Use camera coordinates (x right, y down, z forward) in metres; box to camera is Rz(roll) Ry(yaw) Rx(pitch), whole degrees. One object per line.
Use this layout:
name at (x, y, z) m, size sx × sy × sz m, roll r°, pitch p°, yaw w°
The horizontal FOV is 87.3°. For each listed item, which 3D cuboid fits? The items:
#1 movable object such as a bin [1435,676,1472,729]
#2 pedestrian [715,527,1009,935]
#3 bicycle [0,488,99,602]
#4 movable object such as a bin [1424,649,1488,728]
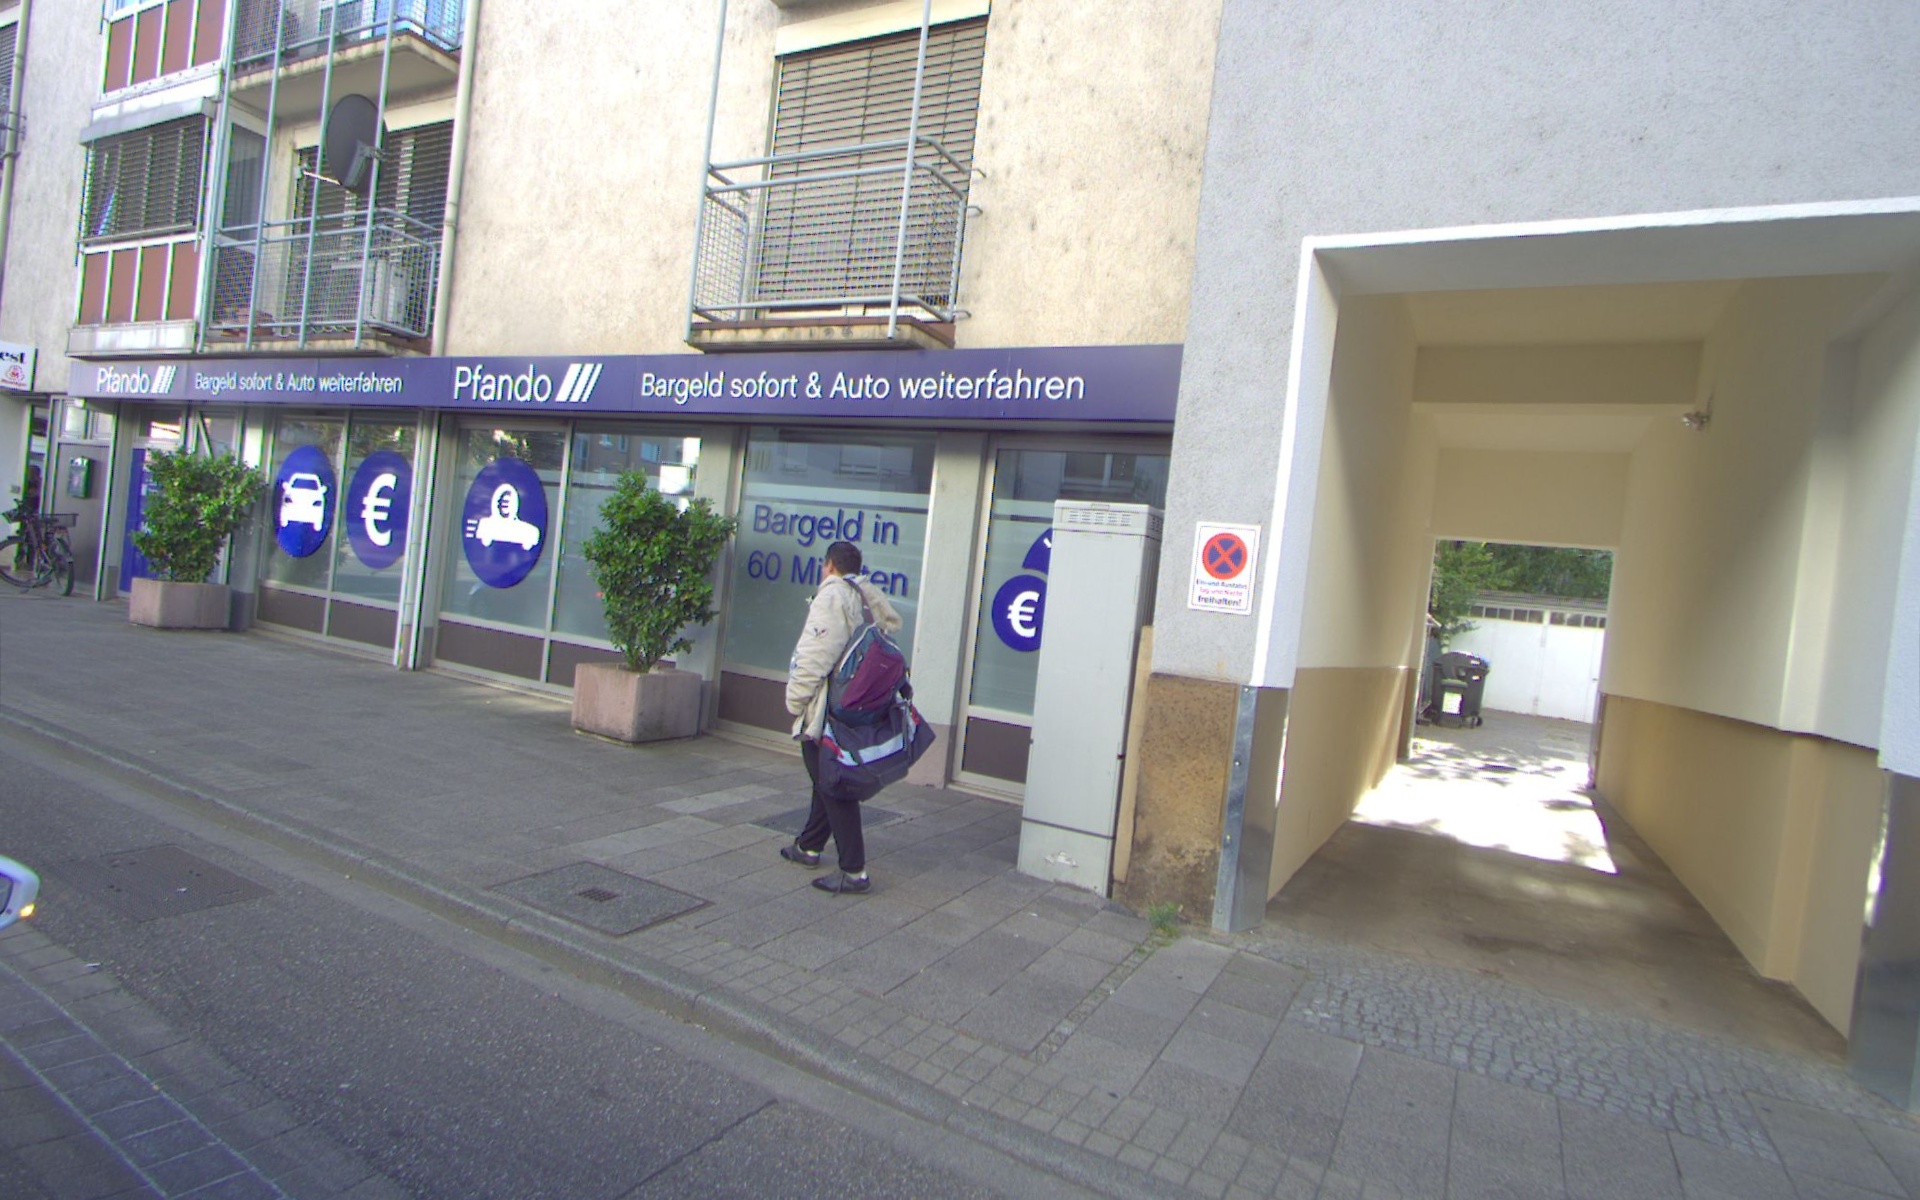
movable object such as a bin at (9.551, 1.973, 19.461) m, size 0.518 × 0.922 × 0.580 m, roll 7°, pitch 1°, yaw 29°
pedestrian at (-0.432, 0.533, 4.630) m, size 0.853 × 1.593 × 0.874 m, roll 8°, pitch 3°, yaw 29°
bicycle at (-11.853, -0.732, 12.885) m, size 1.879 × 1.280 × 0.640 m, roll 7°, pitch 1°, yaw 32°
movable object such as a bin at (10.103, 1.780, 20.464) m, size 0.945 × 1.426 × 1.598 m, roll 7°, pitch 1°, yaw 29°
